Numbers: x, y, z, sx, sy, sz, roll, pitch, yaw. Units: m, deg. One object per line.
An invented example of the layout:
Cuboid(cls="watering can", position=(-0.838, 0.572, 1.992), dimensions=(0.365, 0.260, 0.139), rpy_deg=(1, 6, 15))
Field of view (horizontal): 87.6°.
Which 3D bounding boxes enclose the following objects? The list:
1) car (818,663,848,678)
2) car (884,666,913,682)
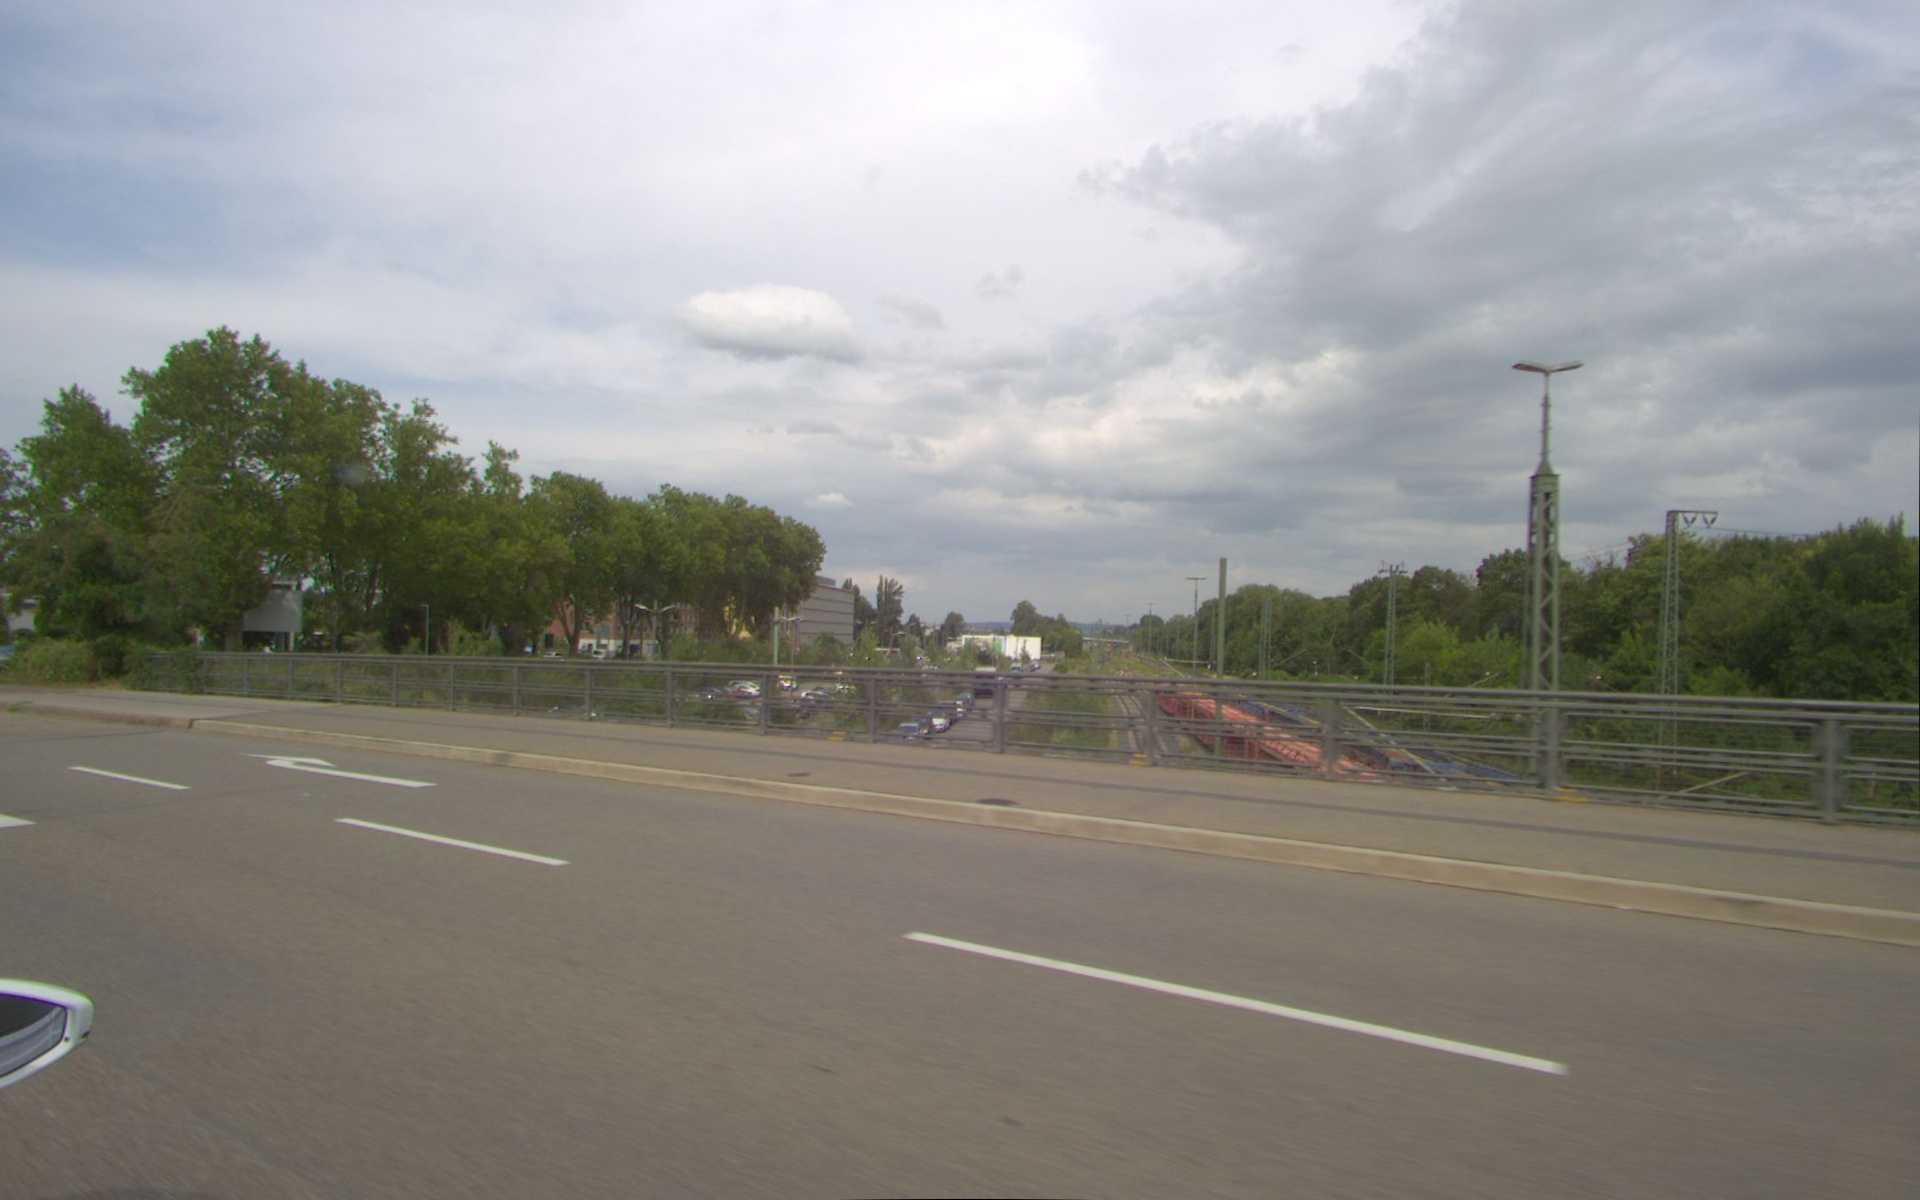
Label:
Cuboid(cls="car", position=(-18.459, 10.257, 145.307), dimensions=(3.923, 2.039, 1.763), rpy_deg=(1, -1, 9))
Cuboid(cls="car", position=(-8.642, 10.400, 141.273), dimensions=(3.922, 2.039, 1.763), rpy_deg=(2, -1, 3))
